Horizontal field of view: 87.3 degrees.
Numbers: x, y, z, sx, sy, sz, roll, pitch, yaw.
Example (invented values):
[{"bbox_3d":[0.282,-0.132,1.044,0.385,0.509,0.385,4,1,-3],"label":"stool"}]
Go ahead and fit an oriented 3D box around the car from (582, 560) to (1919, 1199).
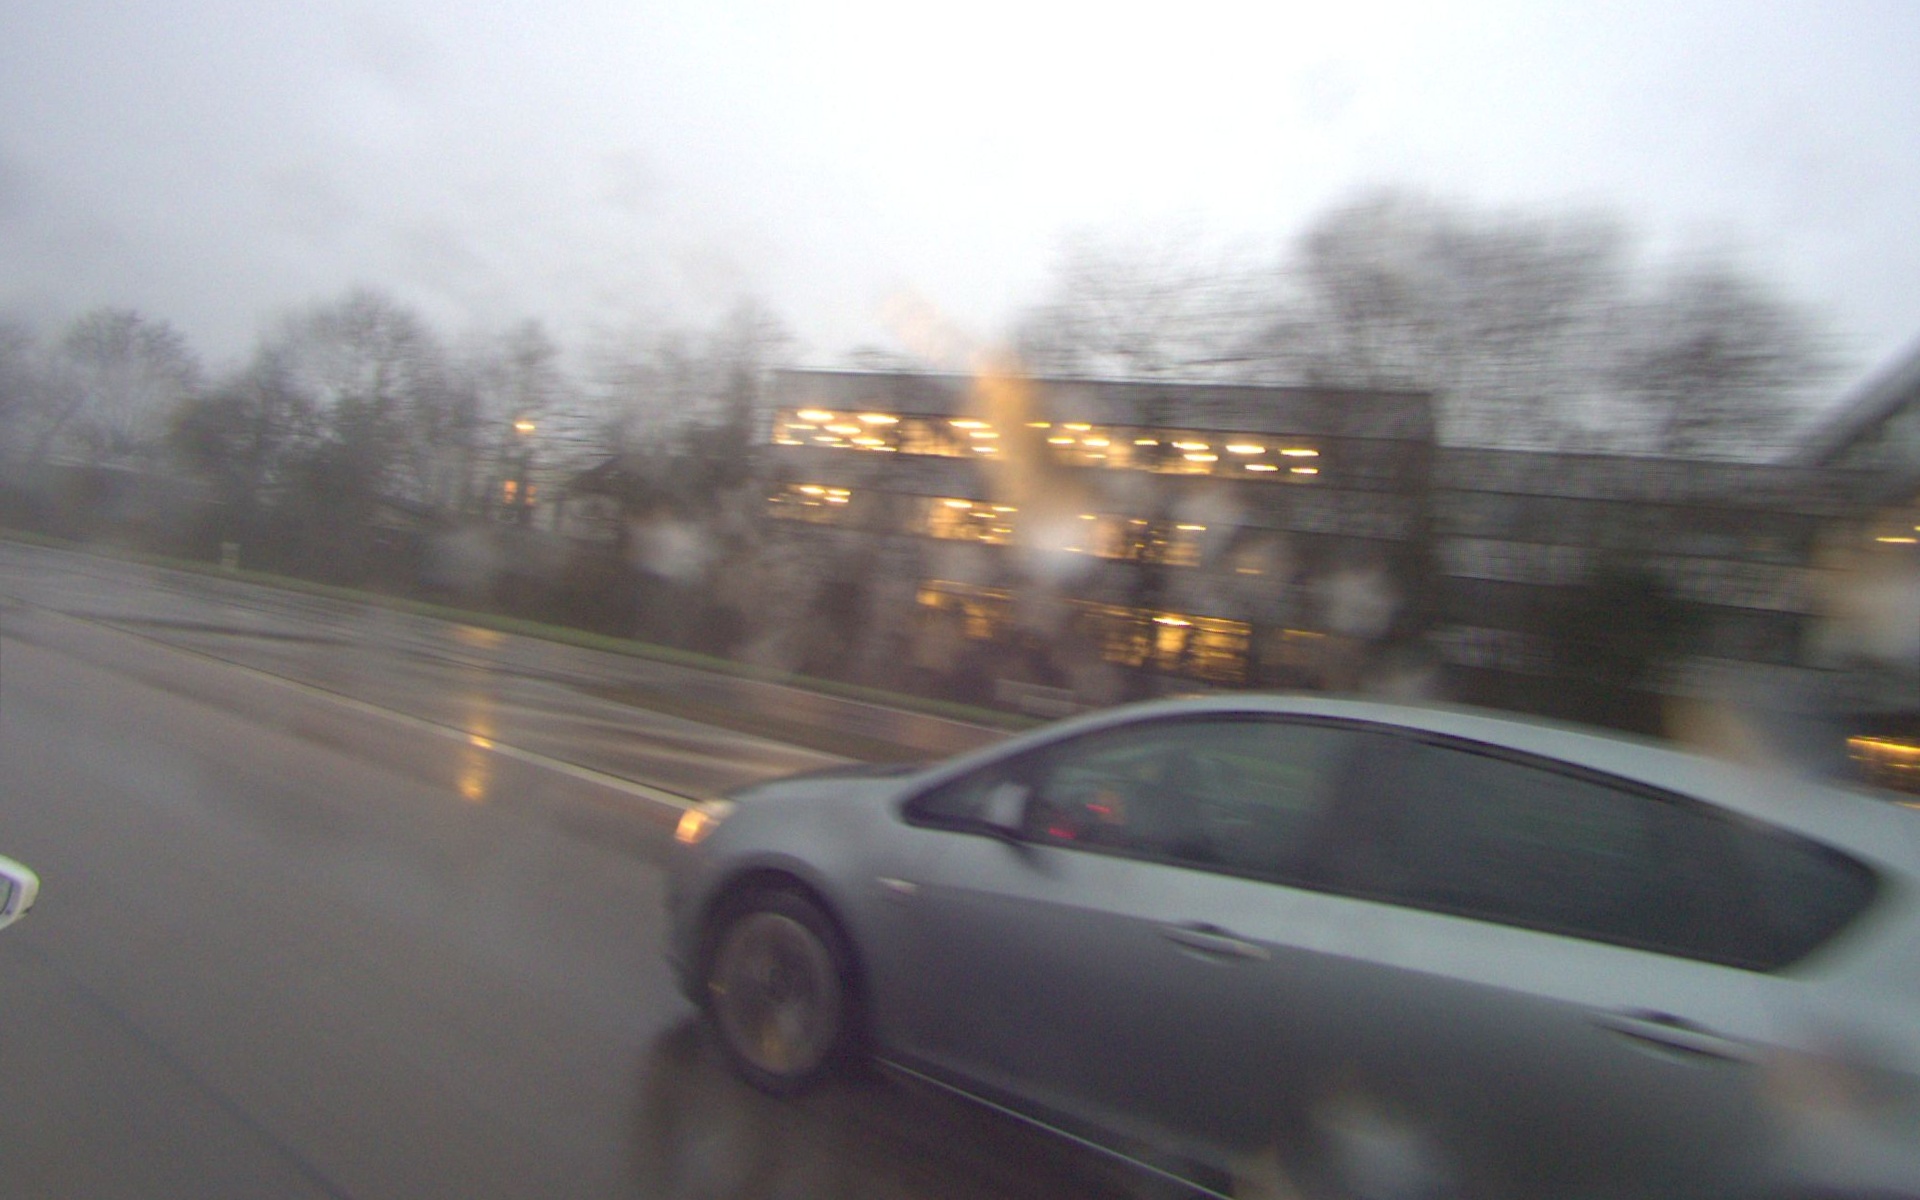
[{"bbox_3d":[1.053,0.923,3.169,4.191,1.518,1.854,7,-2,31],"label":"car"}]
